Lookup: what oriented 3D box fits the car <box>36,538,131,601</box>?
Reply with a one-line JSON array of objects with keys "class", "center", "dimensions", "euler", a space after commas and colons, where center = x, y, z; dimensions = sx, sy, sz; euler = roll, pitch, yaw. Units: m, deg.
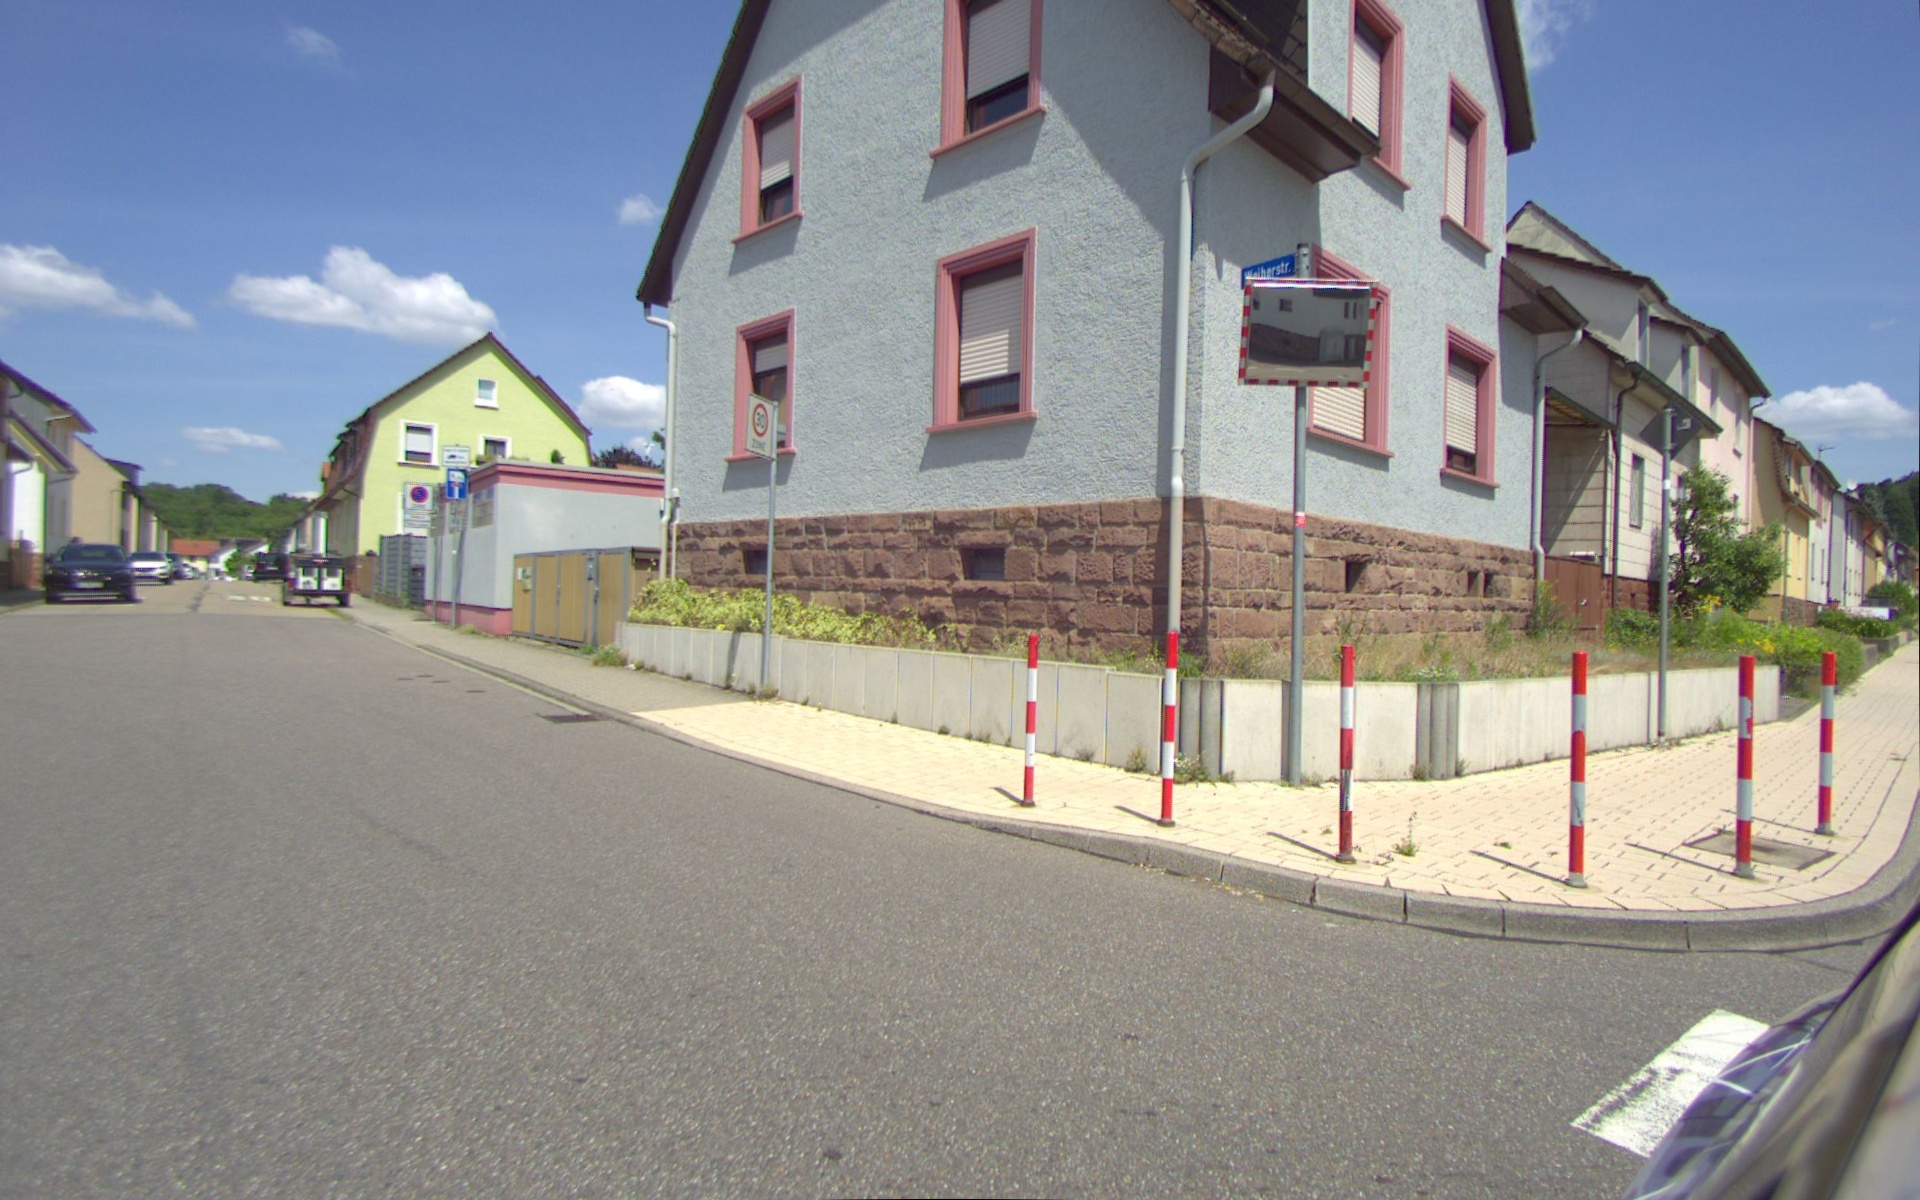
[{"class": "car", "center": [-23.531, -0.774, 27.277], "dimensions": [1.613, 1.558, 3.998], "euler": [0, 0, -37]}]

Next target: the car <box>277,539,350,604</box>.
[{"class": "car", "center": [-19.830, -0.840, 30.991], "dimensions": [1.613, 1.851, 3.998], "euler": [0, 0, -37]}]

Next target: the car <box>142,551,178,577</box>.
[{"class": "car", "center": [-49.490, -2.210, 62.658], "dimensions": [1.613, 1.461, 3.794], "euler": [0, 0, -37]}]

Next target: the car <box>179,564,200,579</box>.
[{"class": "car", "center": [-79.031, -2.869, 103.819], "dimensions": [1.613, 1.461, 3.794], "euler": [0, 0, -37]}]

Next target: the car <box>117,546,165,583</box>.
[{"class": "car", "center": [-39.223, -1.659, 48.542], "dimensions": [1.613, 1.646, 3.794], "euler": [0, 0, -37]}]

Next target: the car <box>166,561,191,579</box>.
[{"class": "car", "center": [-67.322, -2.580, 87.197], "dimensions": [1.613, 1.461, 3.794], "euler": [0, 0, -37]}]

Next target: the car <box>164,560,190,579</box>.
[{"class": "car", "center": [-64.176, -2.518, 83.008], "dimensions": [1.613, 1.461, 3.794], "euler": [0, 0, -37]}]
